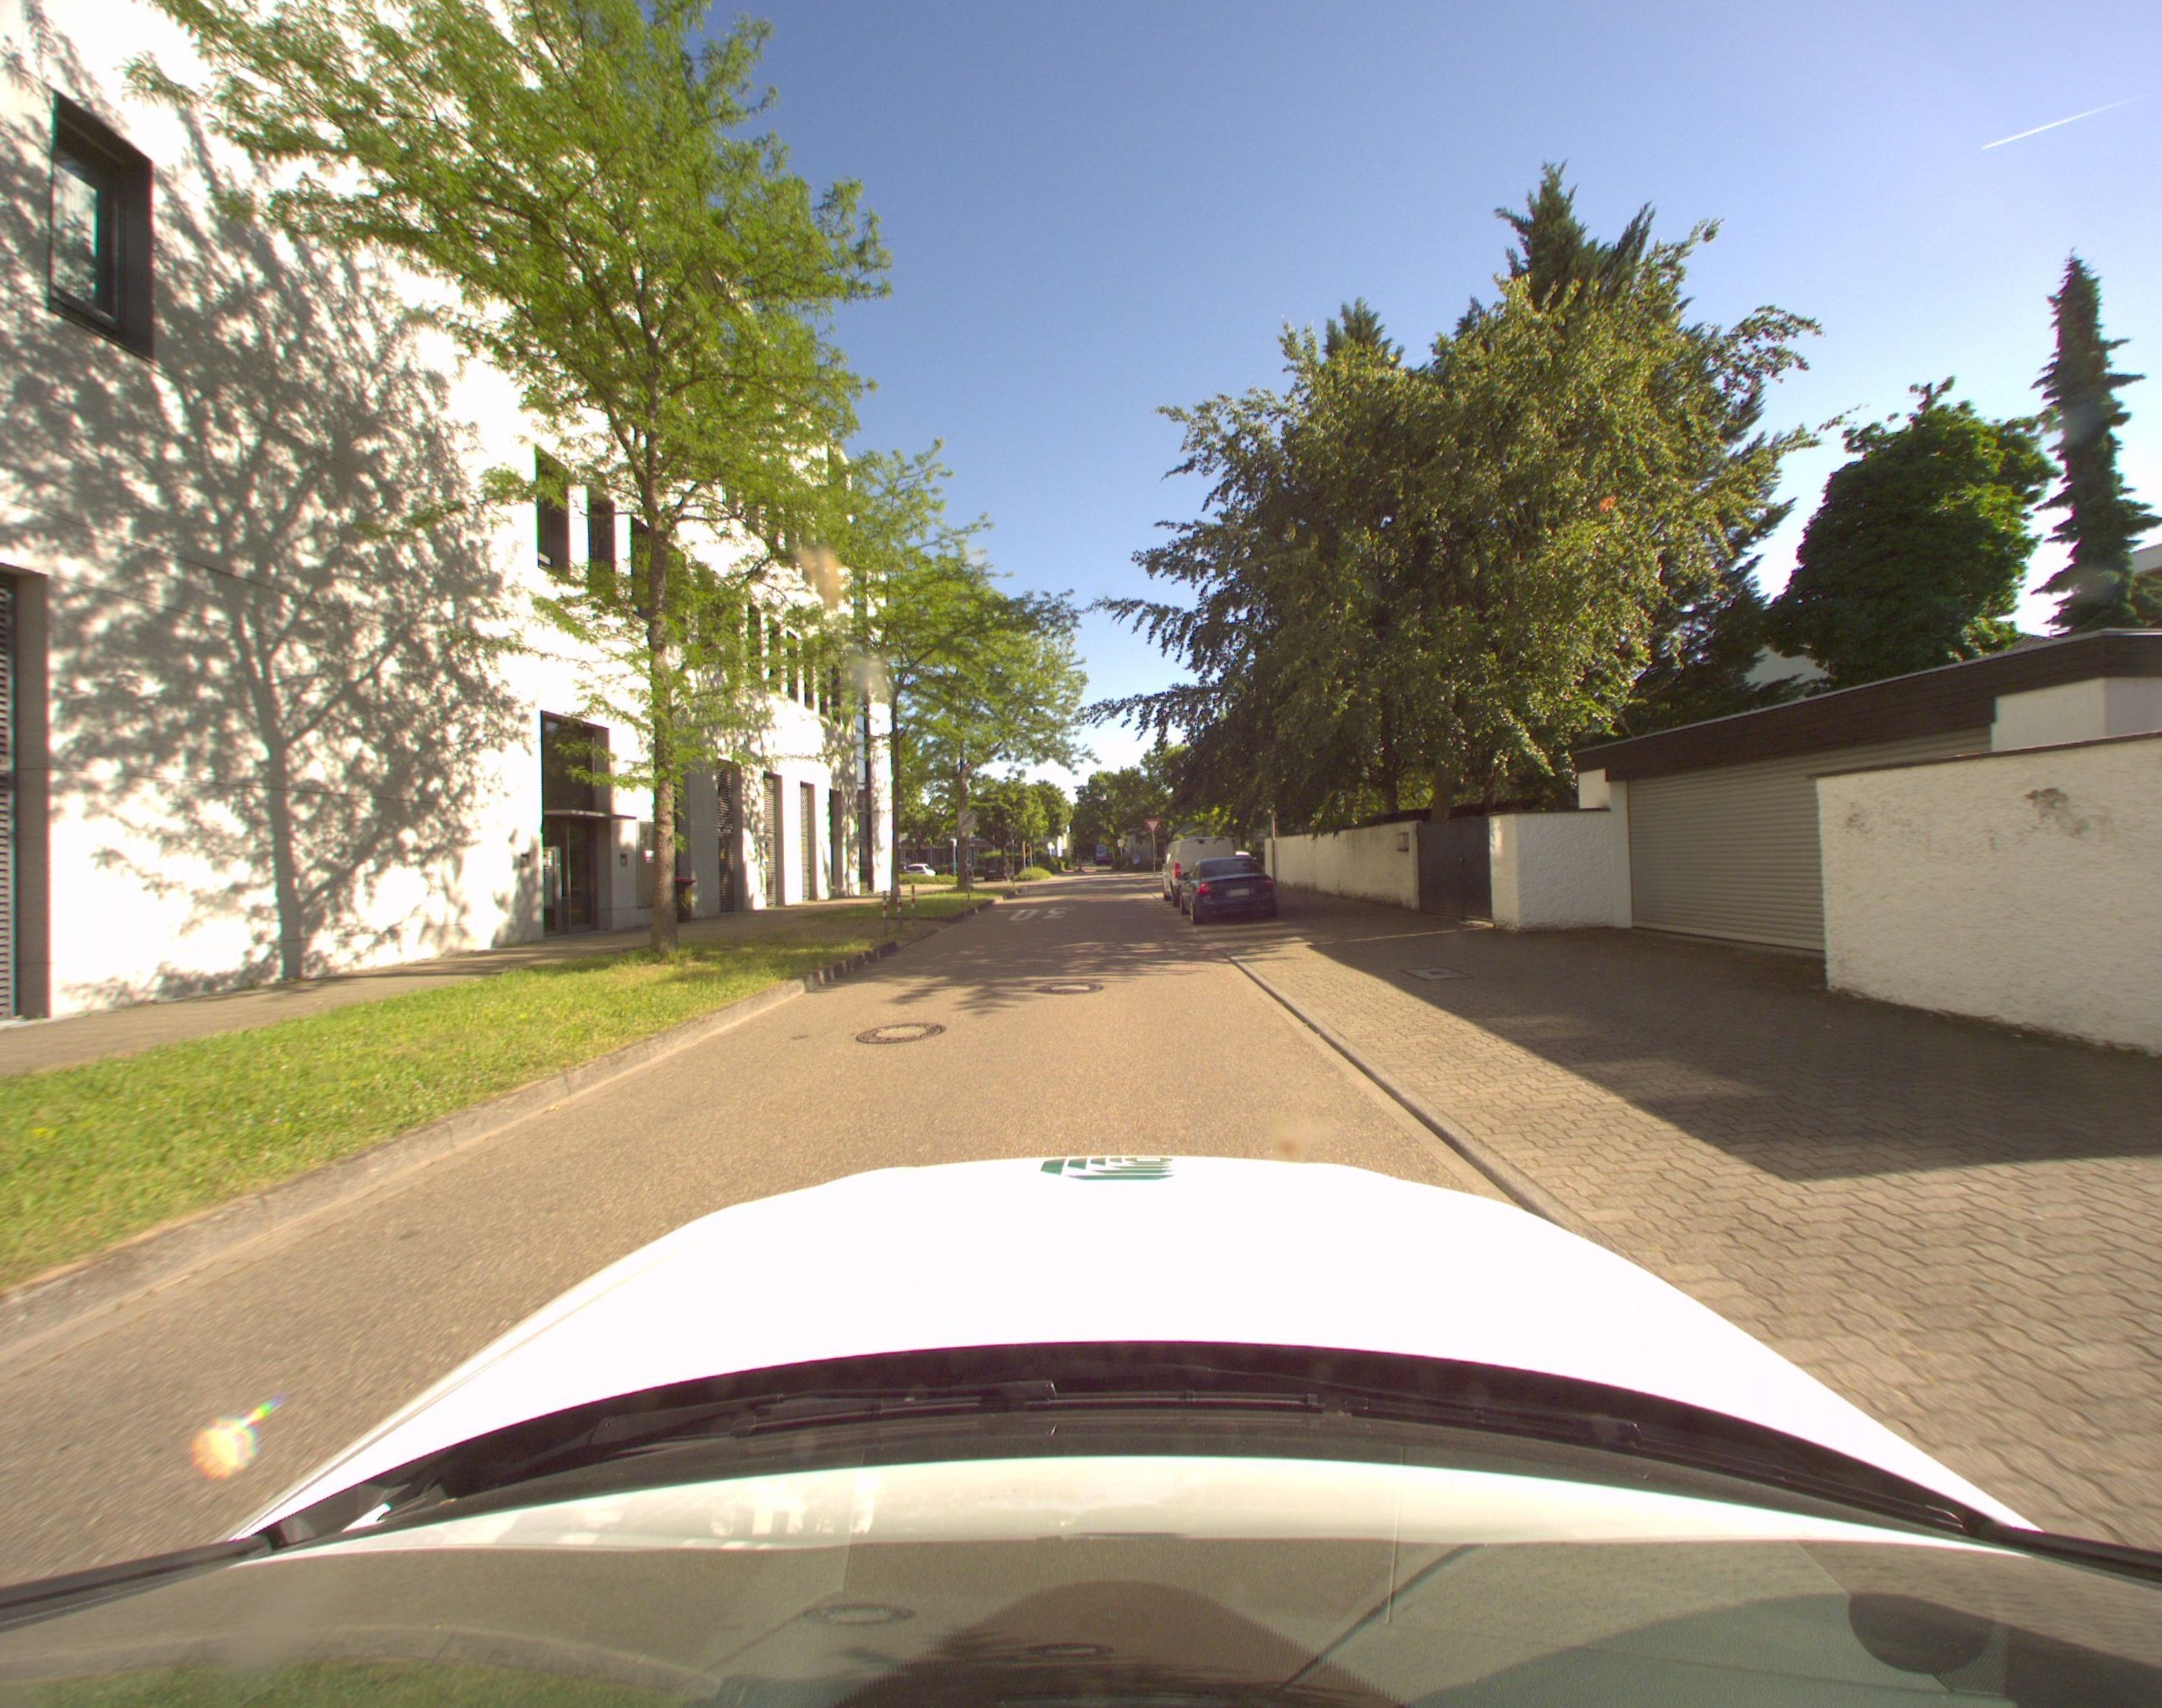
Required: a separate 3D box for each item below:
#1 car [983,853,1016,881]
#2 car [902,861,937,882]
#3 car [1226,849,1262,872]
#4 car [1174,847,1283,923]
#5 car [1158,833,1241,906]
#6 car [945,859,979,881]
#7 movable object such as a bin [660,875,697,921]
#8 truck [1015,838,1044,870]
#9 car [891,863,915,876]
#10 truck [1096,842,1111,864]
[{"bbox_3d":[-6.081,0.937,60.969,1.867,1.846,4.170,-2,1,2],"label":"car"},{"bbox_3d":[-12.100,1.285,61.198,1.797,1.436,3.912,-1,1,0],"label":"car"},{"bbox_3d":[12.063,0.462,60.496,1.817,1.598,4.168,-2,1,0],"label":"car"},{"bbox_3d":[3.219,0.632,18.602,1.818,1.423,4.285,-4,0,2],"label":"car"},{"bbox_3d":[3.481,0.423,24.827,1.891,1.914,5.151,-3,0,2],"label":"car"},{"bbox_3d":[-8.857,1.194,60.921,1.817,1.406,4.168,-2,1,0],"label":"car"},{"bbox_3d":[-9.418,1.022,19.067,0.591,1.040,0.543,-1,0,0],"label":"movable object such as a bin"},{"bbox_3d":[-6.380,0.033,102.170,2.790,3.806,6.930,-1,0,3],"label":"truck"},{"bbox_3d":[-22.016,1.912,100.798,1.828,1.497,3.911,-2,0,4],"label":"car"},{"bbox_3d":[4.286,-0.185,155.431,2.749,3.869,9.334,-1,0,2],"label":"truck"}]
